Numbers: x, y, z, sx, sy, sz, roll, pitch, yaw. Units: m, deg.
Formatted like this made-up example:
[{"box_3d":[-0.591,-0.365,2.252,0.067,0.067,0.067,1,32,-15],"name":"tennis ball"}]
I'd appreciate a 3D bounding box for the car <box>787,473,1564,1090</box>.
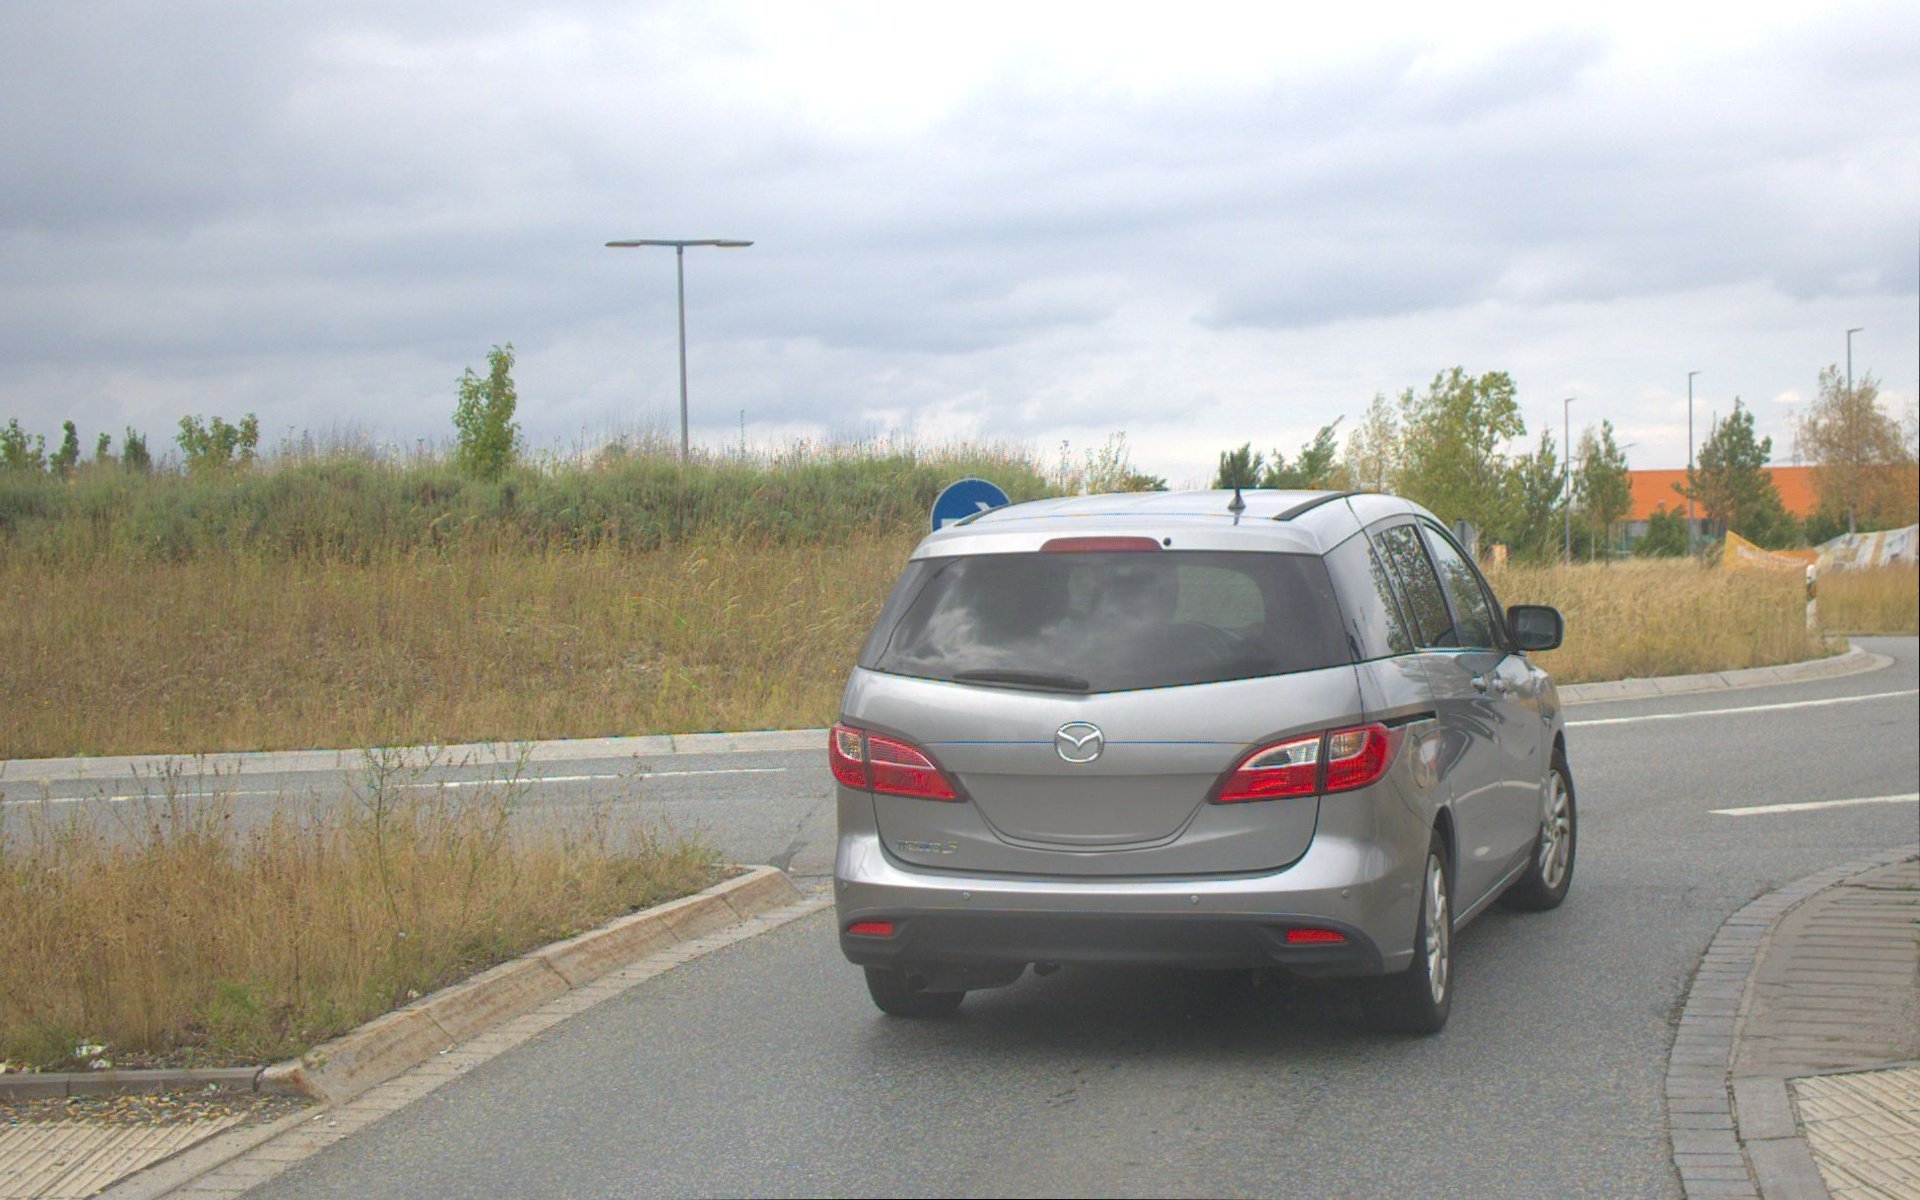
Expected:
[{"box_3d":[0.900,0.409,11.302,1.739,1.593,3.995,0,3,16],"name":"car"}]
